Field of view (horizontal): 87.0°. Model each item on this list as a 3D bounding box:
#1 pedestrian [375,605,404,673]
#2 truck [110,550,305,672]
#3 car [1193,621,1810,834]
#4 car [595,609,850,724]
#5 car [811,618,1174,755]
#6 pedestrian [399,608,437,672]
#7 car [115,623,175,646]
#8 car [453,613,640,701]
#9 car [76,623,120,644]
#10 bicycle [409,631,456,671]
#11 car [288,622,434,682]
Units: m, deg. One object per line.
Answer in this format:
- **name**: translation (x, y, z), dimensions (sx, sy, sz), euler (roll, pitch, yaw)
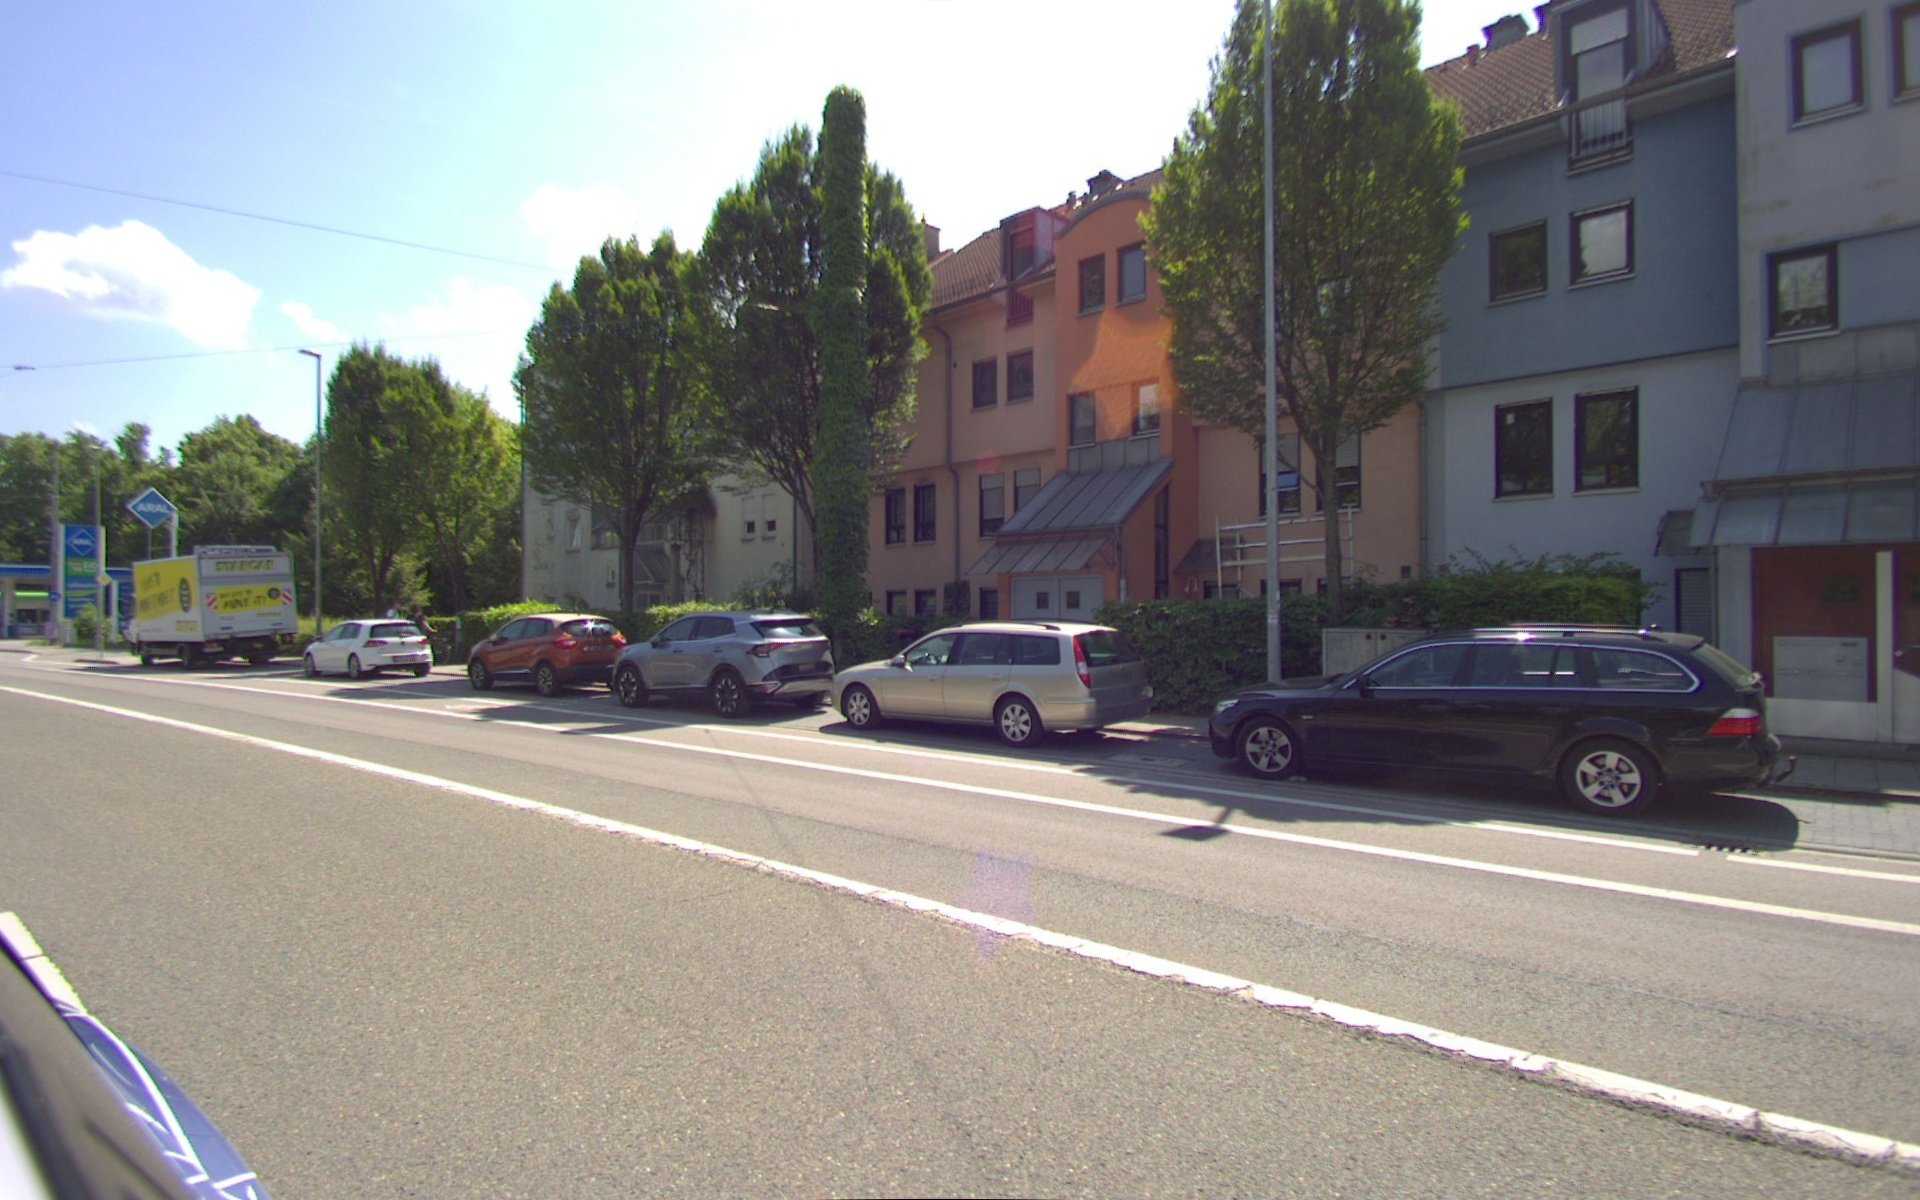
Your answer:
- **pedestrian**: translation (-16.469, 1.107, 29.224), dimensions (0.633, 1.937, 0.711), euler (0, -2, -23)
- **truck**: translation (-24.780, 0.352, 33.166), dimensions (8.155, 3.575, 2.806), euler (-1, 1, 37)
- **car**: translation (4.780, 0.958, 9.457), dimensions (4.822, 1.457, 1.724), euler (-1, 0, 41)
- **car**: translation (-4.093, 1.023, 16.958), dimensions (4.683, 1.621, 1.639), euler (-1, 1, 40)
- **car**: translation (0.264, 1.031, 13.551), dimensions (4.892, 1.520, 1.639), euler (-1, -1, 40)
- **pedestrian**: translation (-15.550, 1.130, 29.061), dimensions (0.696, 1.808, 0.682), euler (-1, -1, 10)
- **car**: translation (-48.215, 2.028, 59.872), dimensions (3.992, 1.347, 1.797), euler (-1, -2, 36)
- **car**: translation (-8.535, 1.087, 20.752), dimensions (4.166, 1.621, 1.640), euler (-1, -1, 36)
- **car**: translation (-72.563, 2.803, 85.192), dimensions (3.990, 1.683, 1.828), euler (-1, -2, 34)
- **bicycle**: translation (-15.262, 1.468, 29.283), dimensions (1.660, 1.134, 0.452), euler (-1, -2, 33)
- **car**: translation (-15.358, 1.283, 25.864), dimensions (4.389, 1.421, 1.640), euler (-1, -2, 36)
